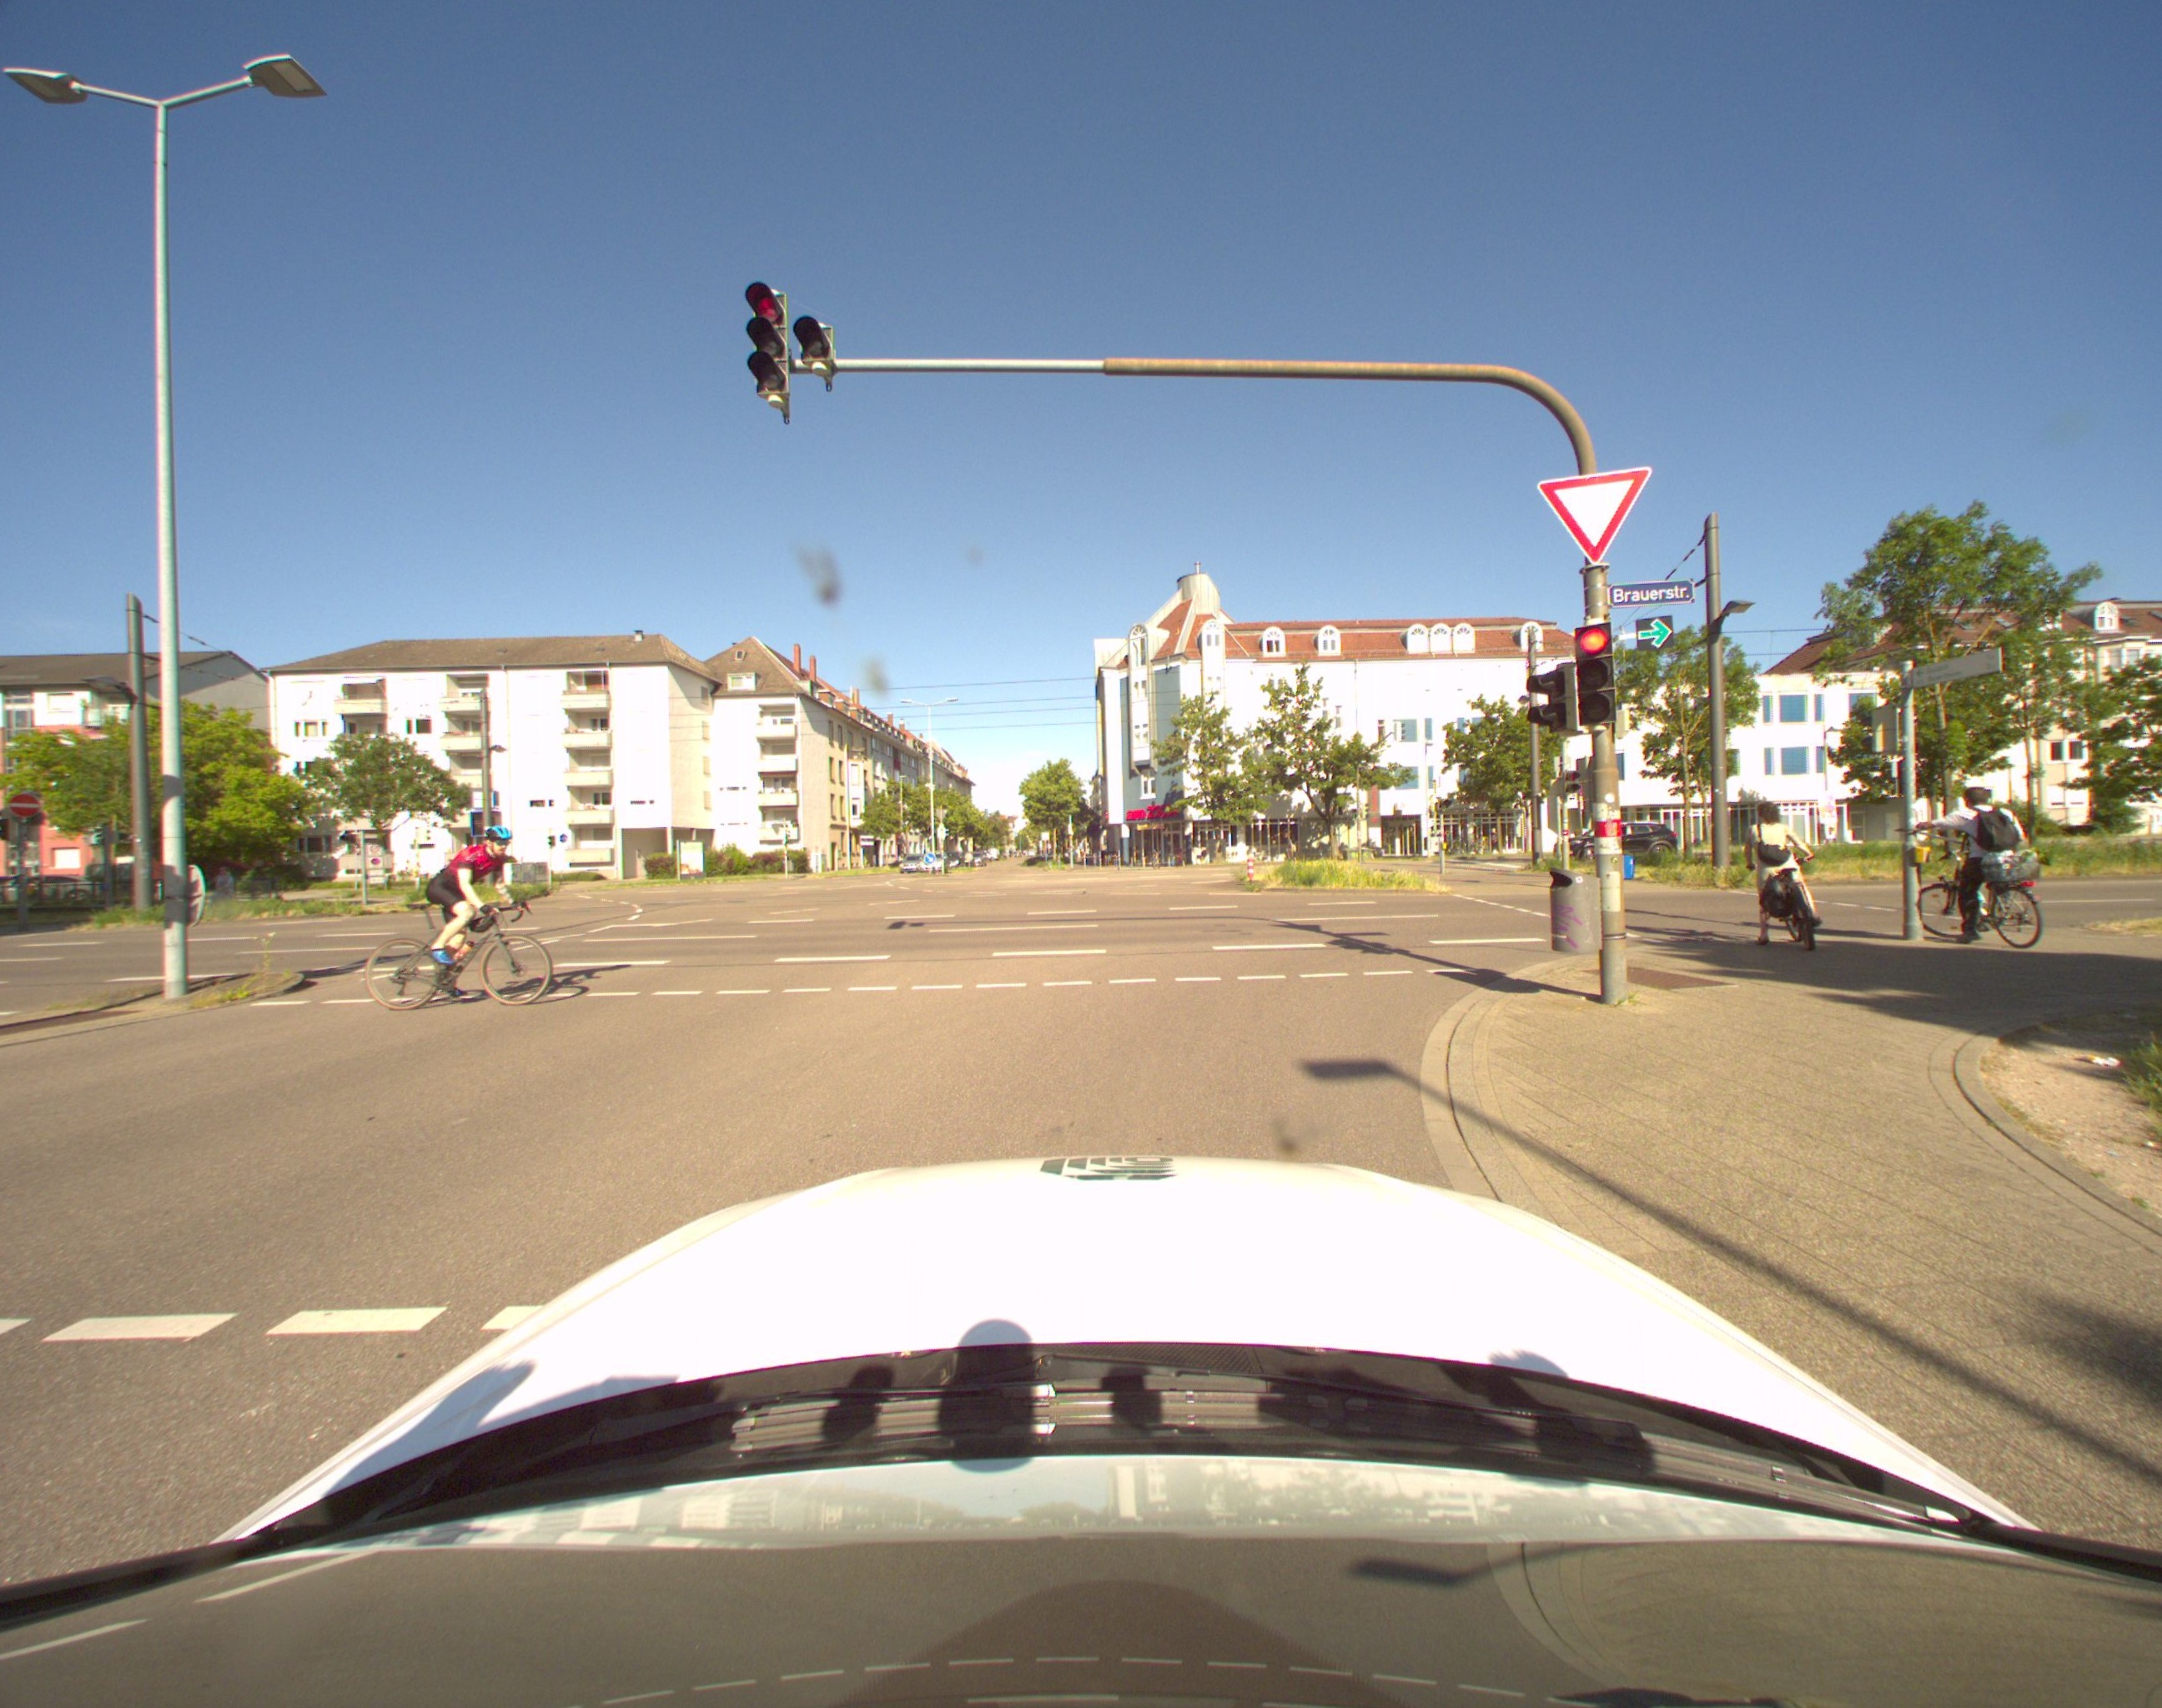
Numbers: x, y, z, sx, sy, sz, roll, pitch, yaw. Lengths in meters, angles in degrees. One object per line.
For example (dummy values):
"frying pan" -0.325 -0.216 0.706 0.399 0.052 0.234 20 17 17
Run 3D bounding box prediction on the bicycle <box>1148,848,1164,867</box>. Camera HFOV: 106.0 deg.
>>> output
"bicycle" 4.190 0.174 45.830 0.471 1.027 1.510 -2 0 -11

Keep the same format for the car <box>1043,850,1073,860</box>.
"car" -2.784 0.141 99.209 3.563 1.223 1.727 -1 -1 -7

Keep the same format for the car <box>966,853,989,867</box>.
"car" -10.367 0.591 81.878 1.682 1.432 4.399 1 0 0

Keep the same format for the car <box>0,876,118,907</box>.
"car" -54.717 1.962 43.323 1.672 1.432 4.427 1 0 38

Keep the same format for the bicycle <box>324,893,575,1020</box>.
"bicycle" -6.163 0.971 8.045 1.806 1.055 0.671 -2 0 -11

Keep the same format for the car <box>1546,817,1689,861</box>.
"car" 21.918 -0.597 33.469 4.474 1.609 2.005 -2 0 9

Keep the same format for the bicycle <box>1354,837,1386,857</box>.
"bicycle" 18.599 -0.458 52.381 1.860 1.182 0.561 -2 0 -5

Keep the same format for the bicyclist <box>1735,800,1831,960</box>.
"bicyclist" 8.589 0.294 10.012 0.782 1.824 1.143 -2 0 38

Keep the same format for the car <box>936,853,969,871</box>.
"car" -10.534 0.617 67.124 1.680 1.432 4.405 1 0 4

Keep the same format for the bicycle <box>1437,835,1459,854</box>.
"bicycle" 24.303 -0.639 53.906 0.559 1.182 1.869 -2 0 -1

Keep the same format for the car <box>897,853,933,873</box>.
"car" -12.917 0.672 63.617 1.681 1.432 4.402 1 0 2

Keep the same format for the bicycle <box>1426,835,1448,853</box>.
"bicycle" 23.404 -0.640 53.589 0.559 1.182 1.869 -2 0 -1

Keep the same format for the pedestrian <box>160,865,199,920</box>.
"pedestrian" -30.060 1.269 27.161 1.139 1.726 0.818 -2 0 41

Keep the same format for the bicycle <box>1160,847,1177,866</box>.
"bicycle" 4.963 0.136 46.356 0.472 1.027 1.510 -2 0 -12

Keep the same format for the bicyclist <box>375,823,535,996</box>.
"bicyclist" -6.142 0.516 8.049 1.002 1.585 0.671 -2 0 -11

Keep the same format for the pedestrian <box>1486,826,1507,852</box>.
"pedestrian" 27.897 -1.010 54.702 0.987 1.723 0.654 -2 0 -2

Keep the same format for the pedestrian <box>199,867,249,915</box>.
"pedestrian" -28.997 1.235 27.570 0.723 1.533 0.857 -2 0 -5

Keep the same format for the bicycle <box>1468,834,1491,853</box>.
"bicycle" 26.170 -0.668 53.503 0.558 1.182 1.870 -2 0 2

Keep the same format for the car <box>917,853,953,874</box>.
"car" -10.768 0.681 60.324 1.681 1.432 4.403 1 0 3

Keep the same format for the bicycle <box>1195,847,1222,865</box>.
"bicycle" 7.535 0.100 48.114 1.502 1.027 0.474 -2 0 10

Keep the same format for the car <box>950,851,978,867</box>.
"car" -10.529 0.417 73.311 1.681 1.432 4.402 1 0 2

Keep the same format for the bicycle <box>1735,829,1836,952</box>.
"bicycle" 8.619 0.388 10.038 0.782 1.347 2.092 -2 0 38

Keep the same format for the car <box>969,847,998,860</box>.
"car" -15.539 -0.113 129.828 4.495 2.014 1.998 -1 -1 -3

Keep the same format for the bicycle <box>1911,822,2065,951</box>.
"bicycle" 10.655 0.322 9.661 0.782 1.347 2.277 -2 0 38

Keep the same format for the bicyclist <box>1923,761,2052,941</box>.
"bicyclist" 10.503 -0.035 9.485 0.782 1.959 1.017 -2 0 38
